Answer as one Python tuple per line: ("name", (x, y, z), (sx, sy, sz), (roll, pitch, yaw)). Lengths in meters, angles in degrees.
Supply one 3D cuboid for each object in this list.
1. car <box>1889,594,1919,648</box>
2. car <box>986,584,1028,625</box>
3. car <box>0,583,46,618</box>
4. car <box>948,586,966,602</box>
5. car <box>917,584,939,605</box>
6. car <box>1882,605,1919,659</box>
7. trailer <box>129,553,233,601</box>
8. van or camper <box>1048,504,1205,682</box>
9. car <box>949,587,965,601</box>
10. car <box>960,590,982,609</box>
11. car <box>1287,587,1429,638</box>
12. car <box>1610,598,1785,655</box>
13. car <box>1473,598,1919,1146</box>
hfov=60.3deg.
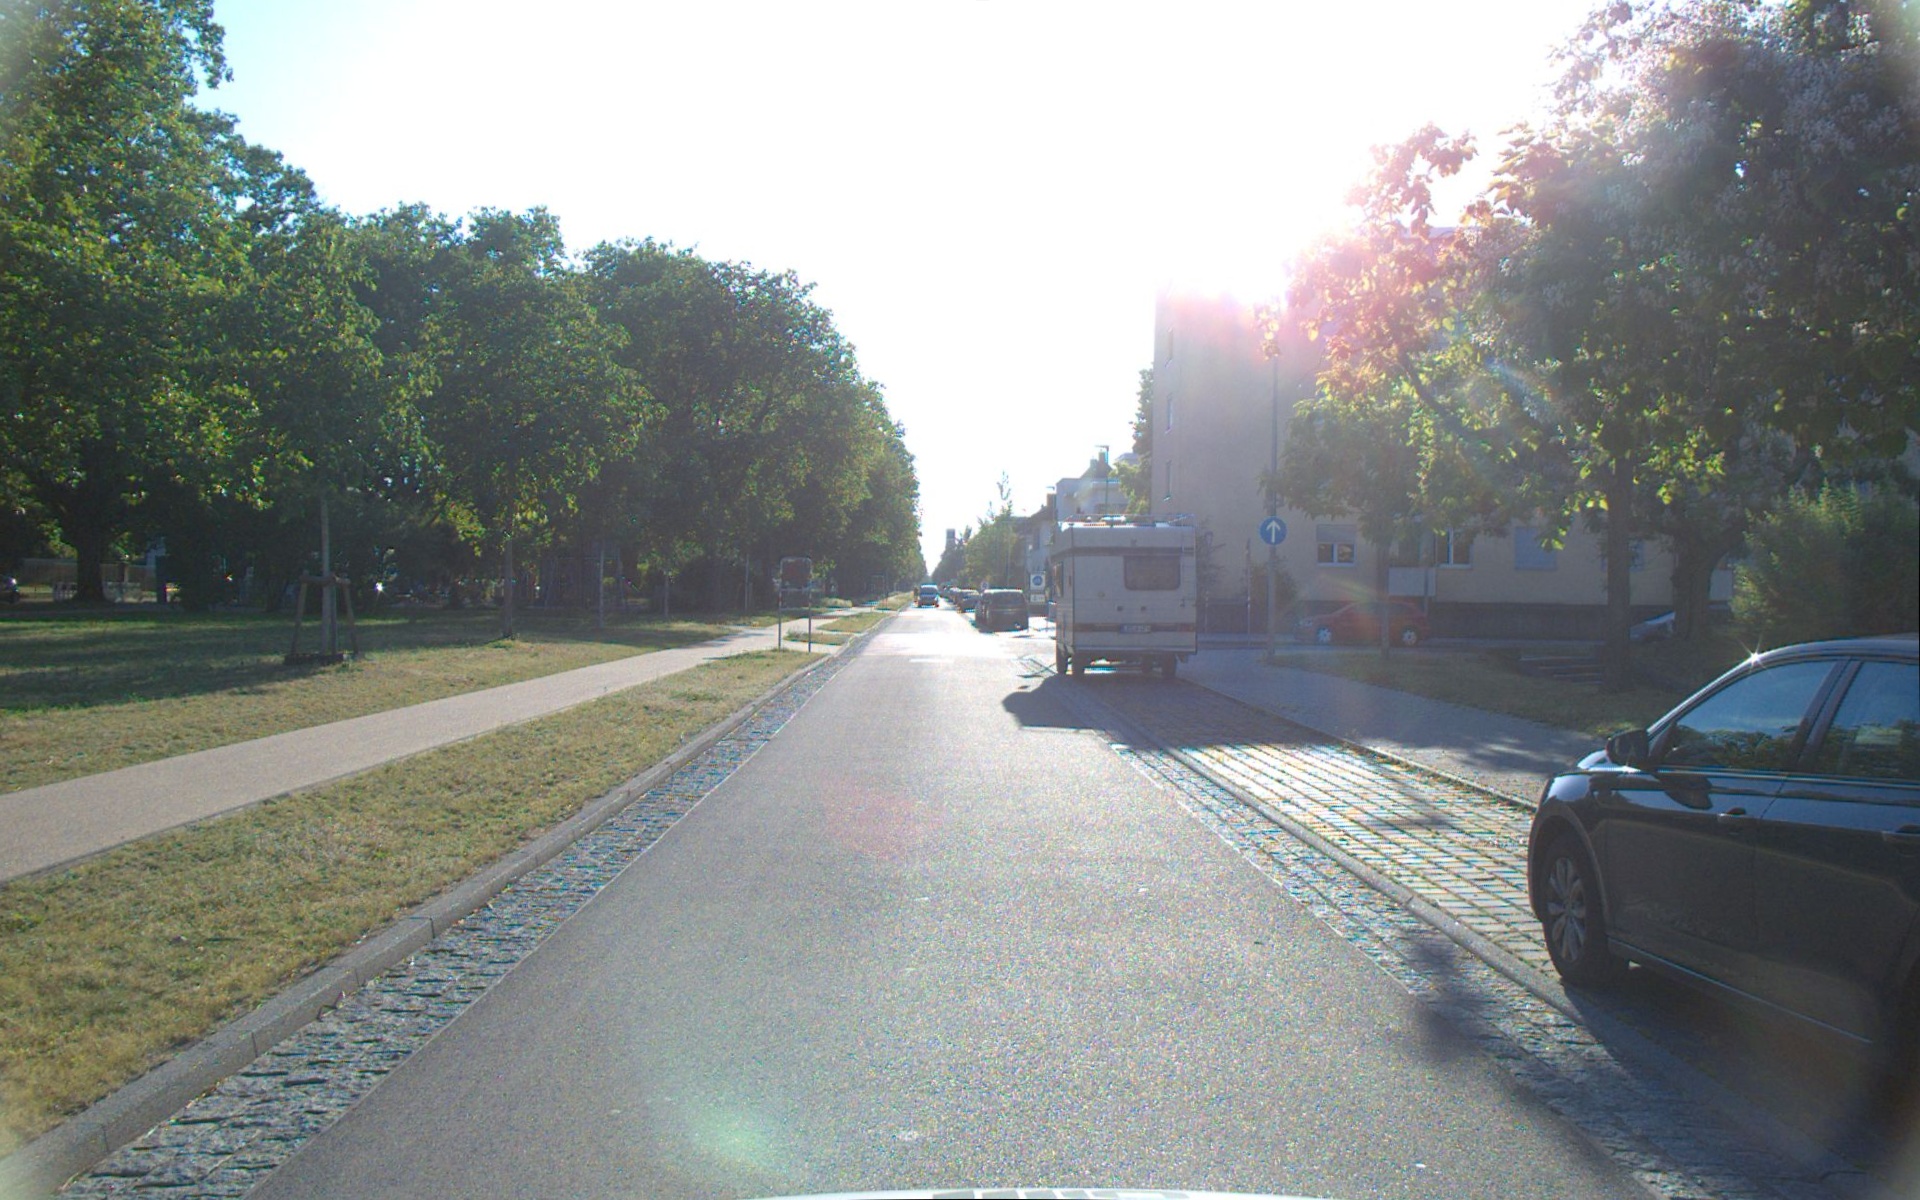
("car", (30.053, 0.620, 48.687), (4.416, 1.597, 1.881), (0, 0, 18))
("car", (2.019, 0.189, 71.637), (1.593, 1.698, 4.248), (0, 0, -1))
("car", (-42.450, 0.006, 72.989), (1.953, 1.534, 4.115), (0, 0, 0))
("car", (-0.304, -0.575, 156.472), (1.593, 1.434, 4.248), (0, 0, -1))
("car", (-2.755, -0.466, 142.115), (1.789, 1.698, 4.248), (0, 0, -1))
("car", (26.650, 0.842, 43.364), (4.108, 1.381, 1.693), (0, 0, 20))
("trailer", (-42.671, -1.213, 90.817), (2.409, 2.532, 7.049), (0, 0, 0))
("van or camper", (2.921, -0.080, 30.339), (2.189, 2.955, 5.671), (0, -1, -1))
("car", (-0.334, -0.601, 173.035), (1.593, 1.434, 4.248), (0, 0, -1))
("car", (0.825, -0.018, 125.302), (1.593, 1.434, 4.248), (0, 0, -1))
("car", (12.572, 0.385, 52.431), (4.107, 1.557, 2.001), (0, 0, 3))
("car", (20.054, 0.708, 45.130), (4.105, 1.488, 1.694), (0, 0, 14))
("car", (3.334, 0.745, 5.650), (1.594, 1.489, 4.245), (0, 0, -4))
